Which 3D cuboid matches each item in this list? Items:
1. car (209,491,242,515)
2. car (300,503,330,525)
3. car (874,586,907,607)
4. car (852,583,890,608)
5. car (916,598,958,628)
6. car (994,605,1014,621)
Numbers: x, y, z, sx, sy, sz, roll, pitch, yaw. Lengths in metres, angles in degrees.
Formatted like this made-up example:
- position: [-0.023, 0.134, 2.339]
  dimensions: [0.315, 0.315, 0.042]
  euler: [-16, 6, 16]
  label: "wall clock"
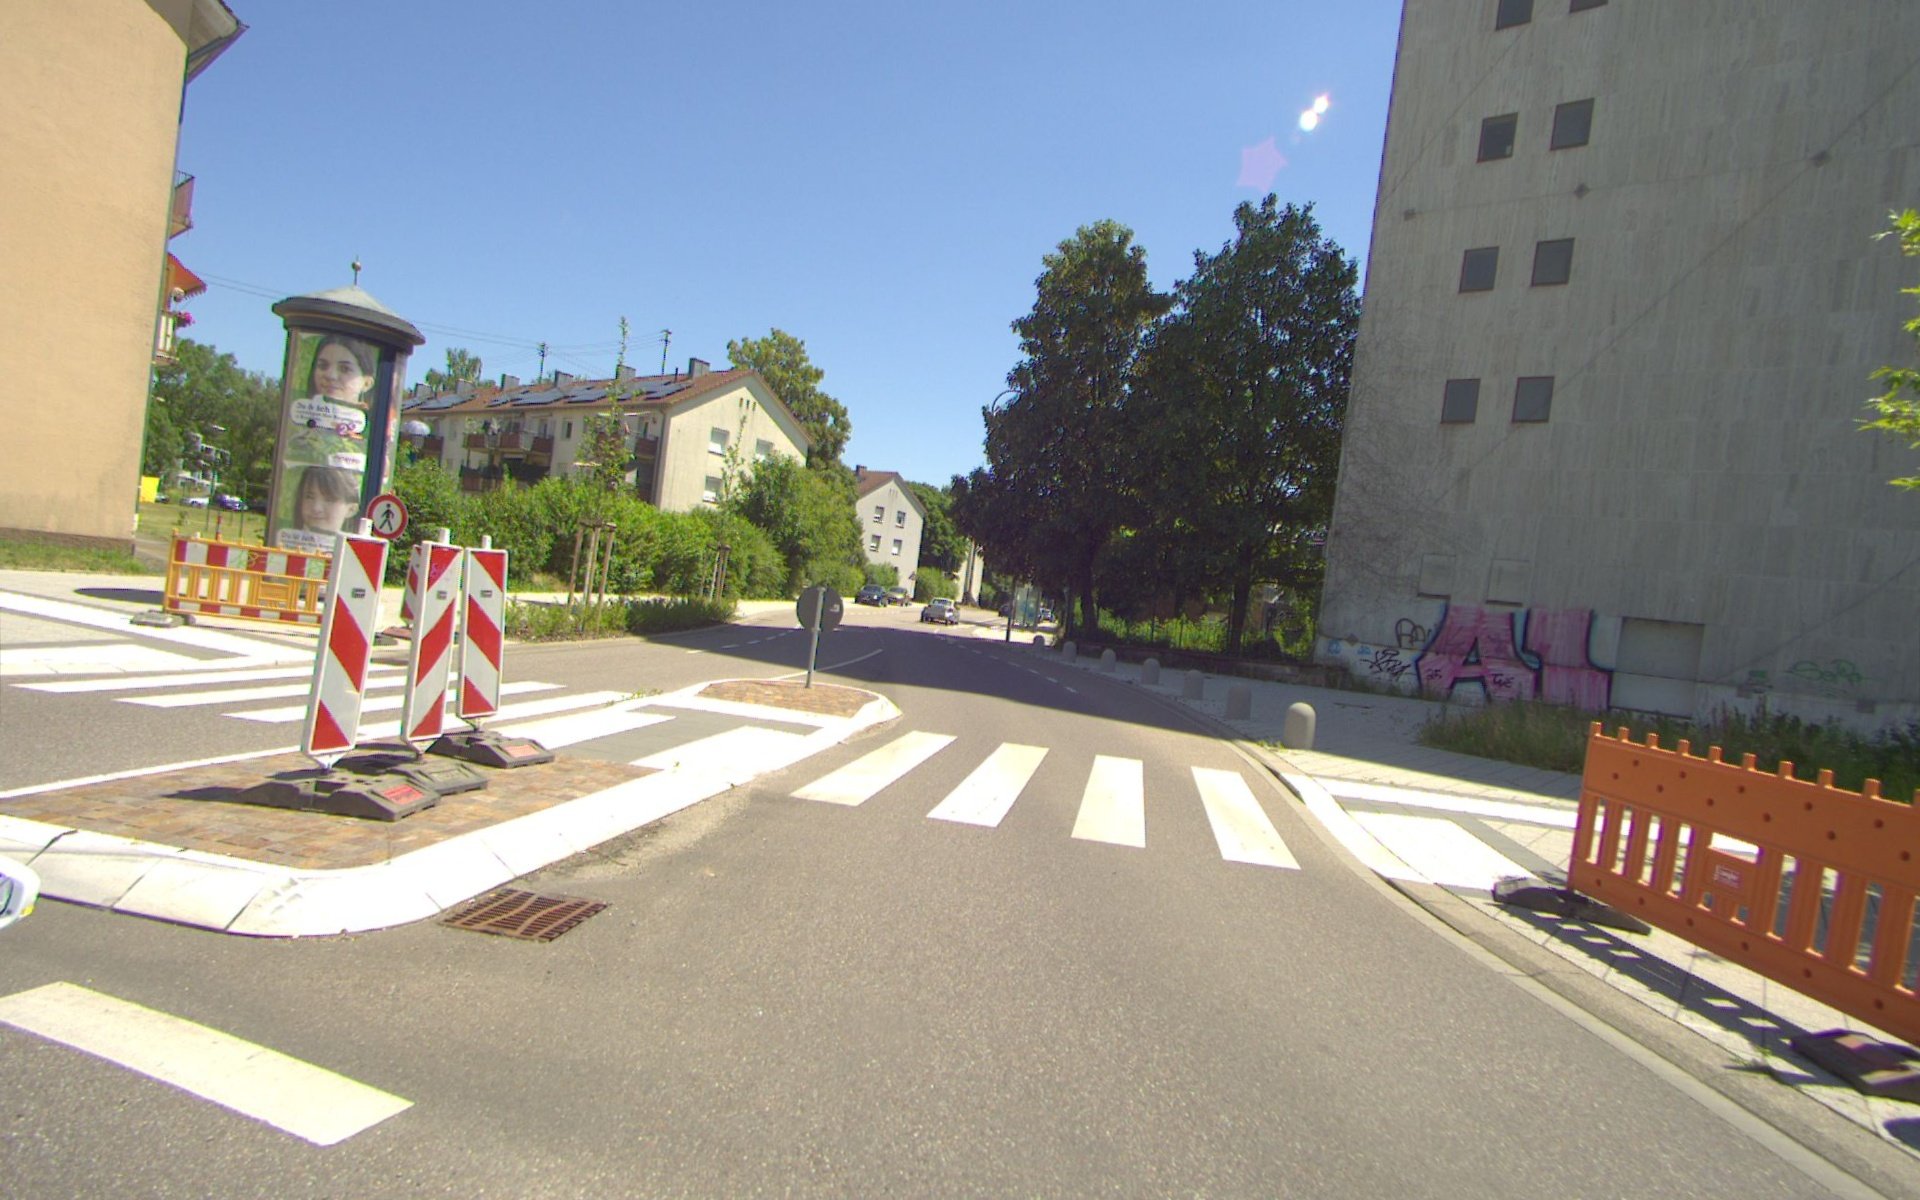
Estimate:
- position: [-52.731, -6.966, 72.275]
  dimensions: [1.727, 1.455, 3.675]
  euler: [5, 1, -35]
  label: "car"
- position: [-50.664, -6.753, 78.996]
  dimensions: [1.727, 1.455, 3.675]
  euler: [5, 1, -35]
  label: "car"
- position: [-5.505, -0.266, 80.099]
  dimensions: [1.711, 1.455, 3.710]
  euler: [6, 1, 8]
  label: "car"
- position: [-6.038, -0.287, 68.513]
  dimensions: [1.711, 1.455, 3.710]
  euler: [6, 1, 8]
  label: "car"
- position: [-1.251, 0.704, 56.576]
  dimensions: [1.711, 1.455, 3.710]
  euler: [6, 1, 8]
  label: "car"
- position: [4.699, 1.383, 106.140]
  dimensions: [1.711, 1.455, 3.710]
  euler: [6, 1, 7]
  label: "car"
